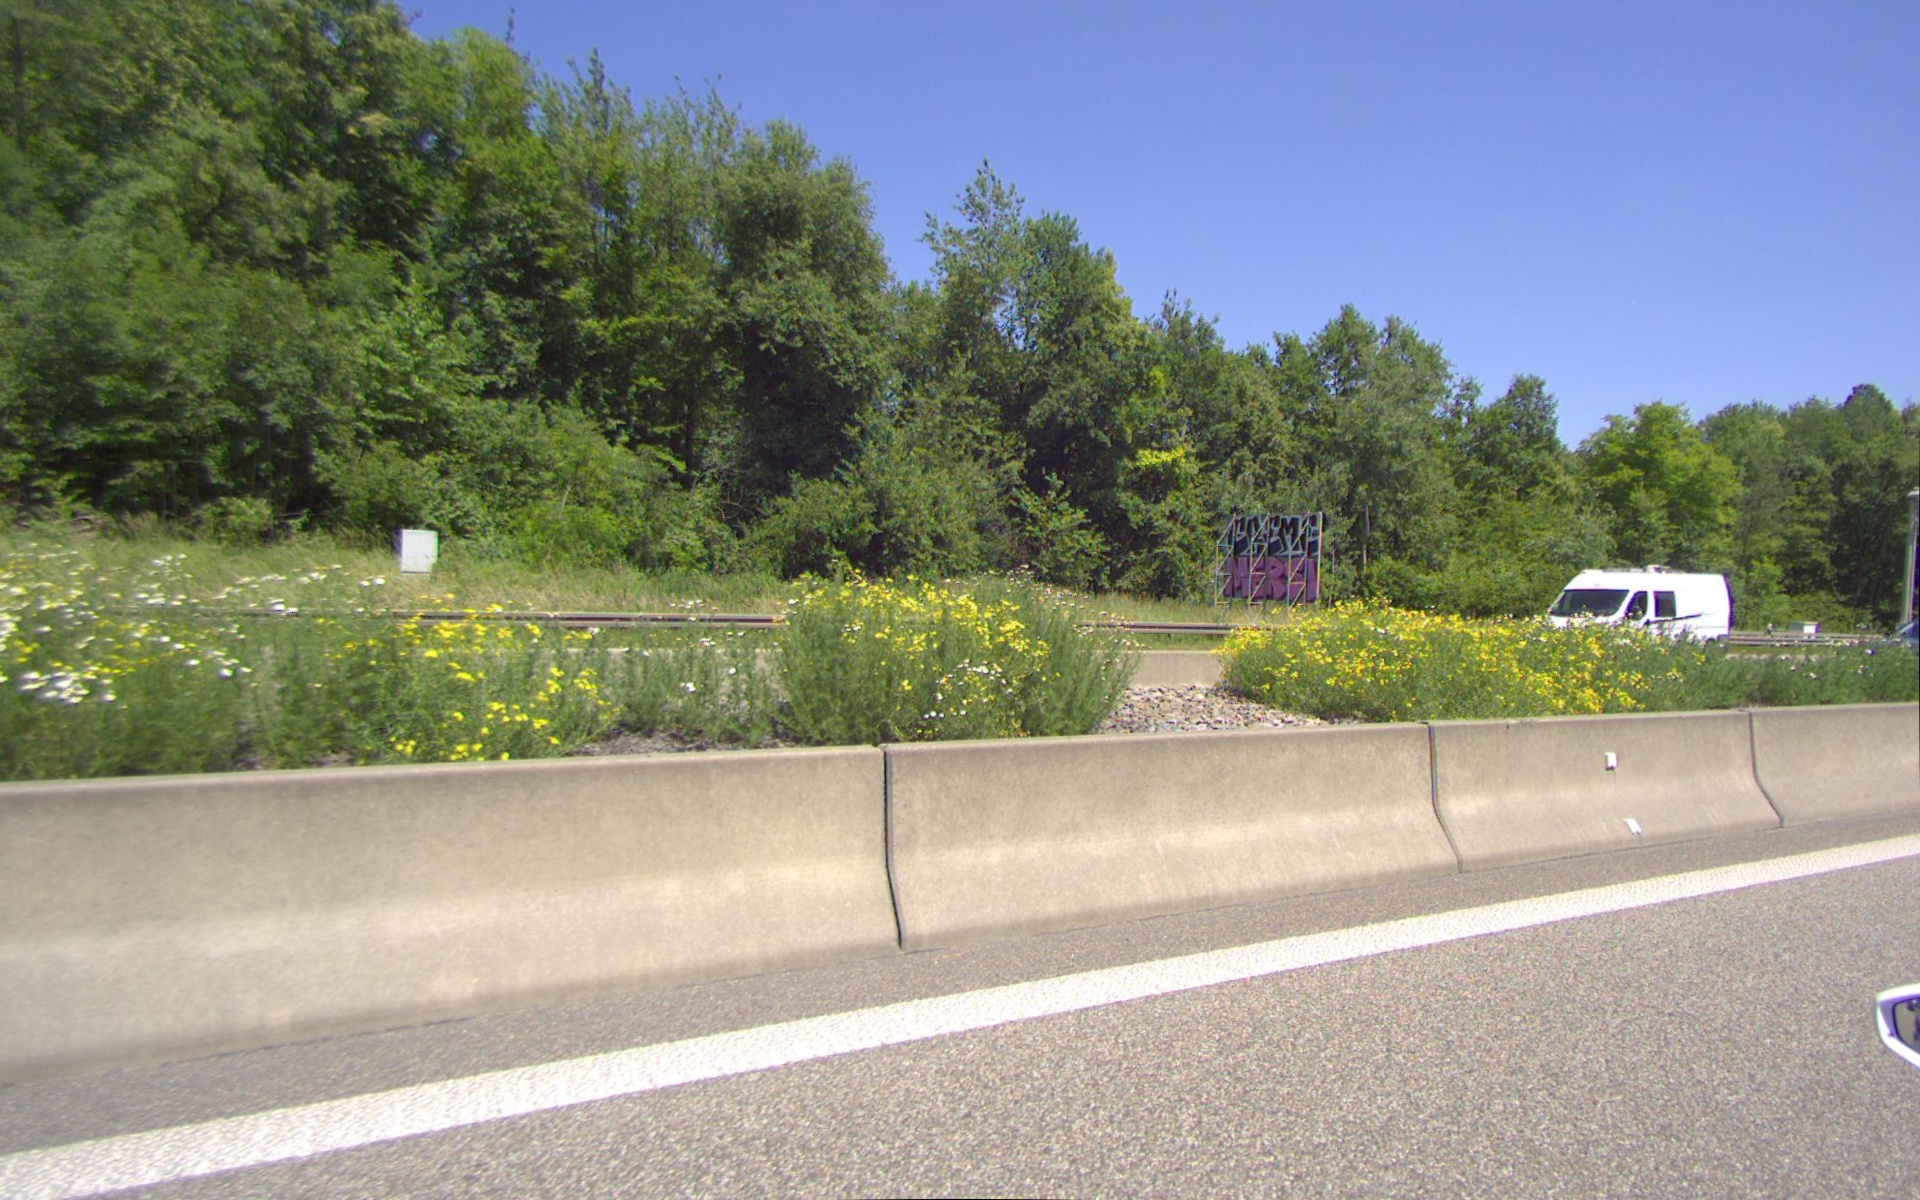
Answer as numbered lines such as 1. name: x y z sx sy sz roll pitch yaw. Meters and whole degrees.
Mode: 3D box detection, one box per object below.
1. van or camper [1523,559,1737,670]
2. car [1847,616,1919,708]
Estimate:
1. van or camper: 18.108 0.425 27.067 6.074 2.737 2.077 2 0 -27
2. car: 20.281 1.290 20.359 4.569 1.732 1.917 3 0 -27
